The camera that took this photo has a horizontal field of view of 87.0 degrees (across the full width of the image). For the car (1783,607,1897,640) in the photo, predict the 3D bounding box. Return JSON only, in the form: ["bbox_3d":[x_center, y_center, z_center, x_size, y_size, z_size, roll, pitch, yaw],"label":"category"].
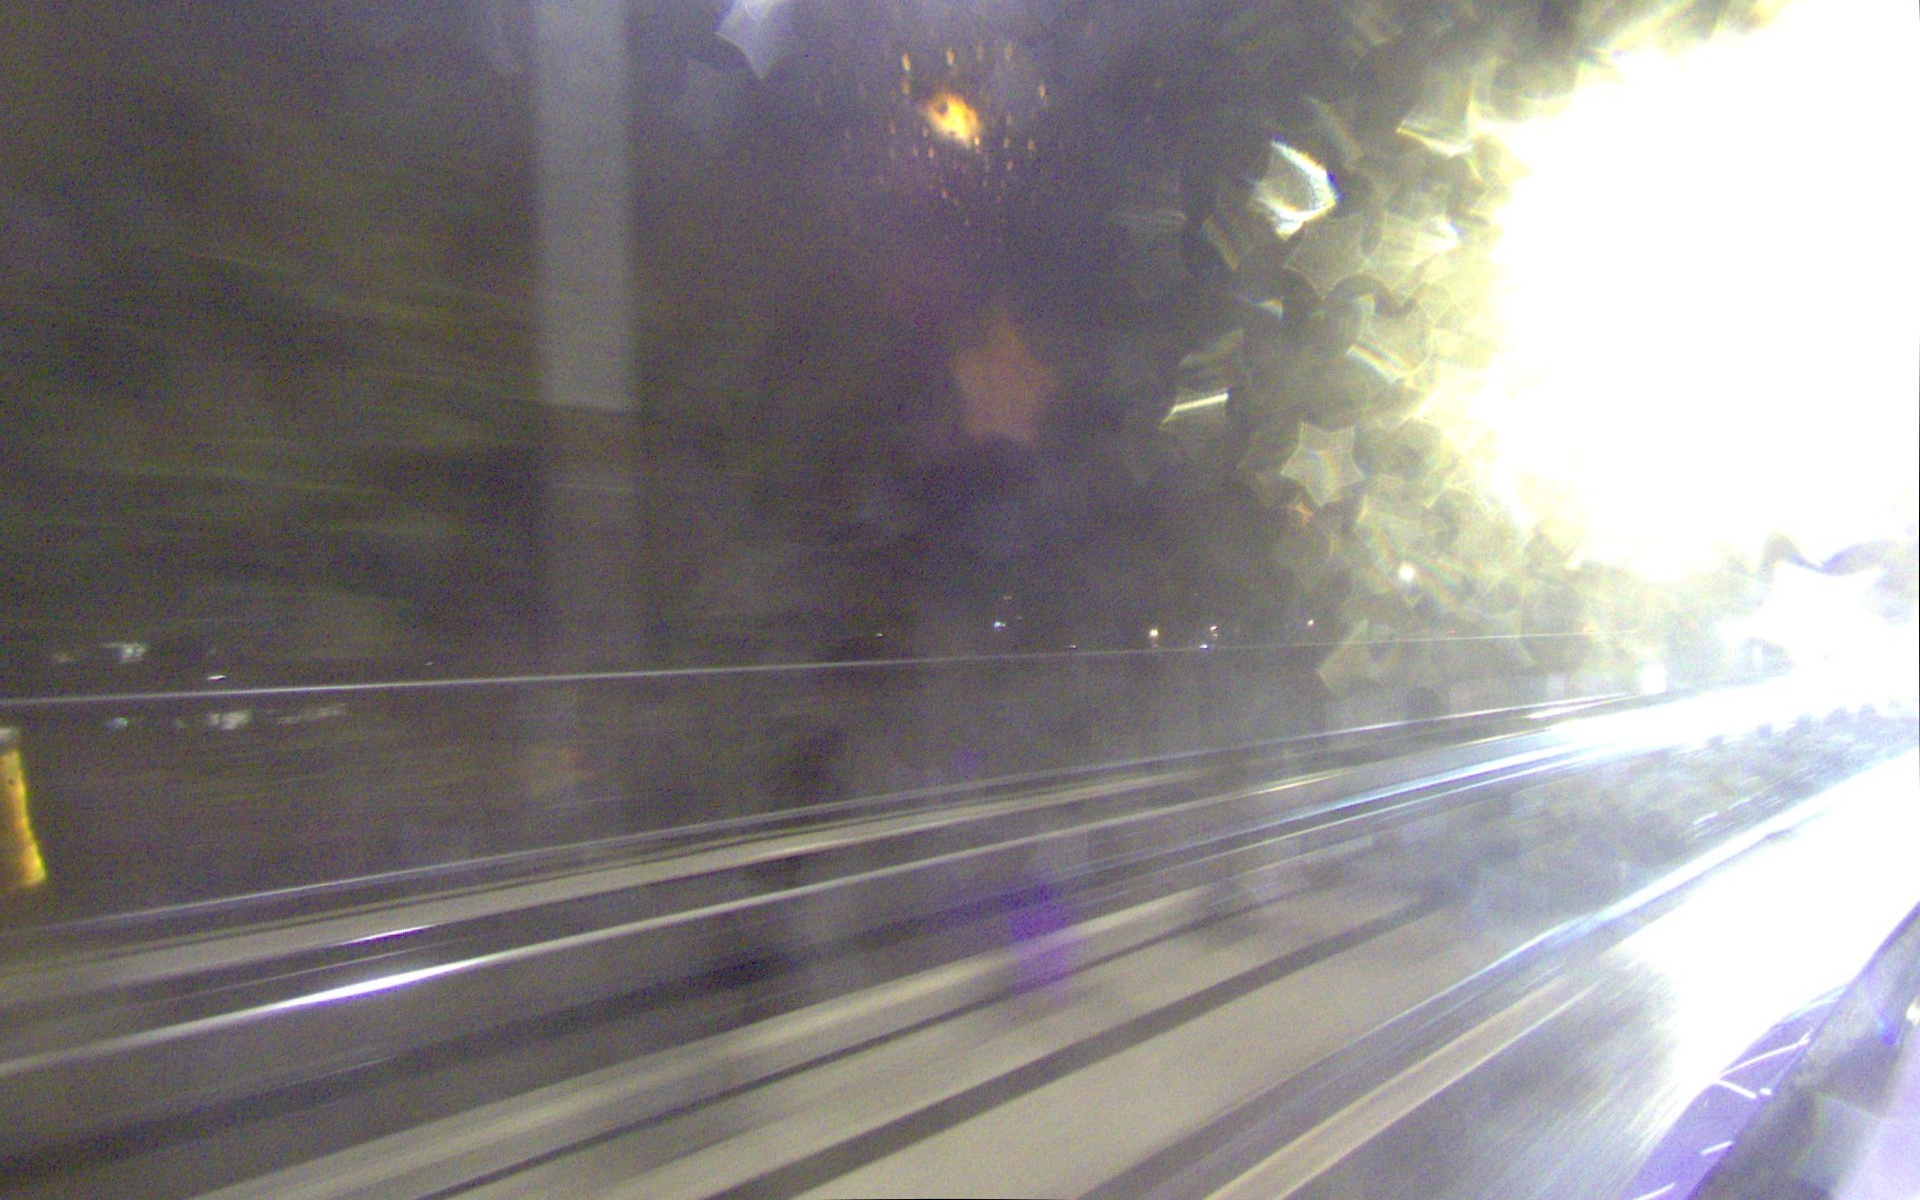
[{"bbox_3d":[49.649,1.279,57.265,1.960,1.660,4.788,1,1,-6],"label":"car"}]

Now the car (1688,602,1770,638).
[{"bbox_3d":[48.516,1.293,63.946,1.729,2.040,4.001,-4,-3,-5],"label":"car"}]

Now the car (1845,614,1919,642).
[{"bbox_3d":[52.662,1.561,56.657,1.960,1.426,4.551,1,1,-6],"label":"car"}]
